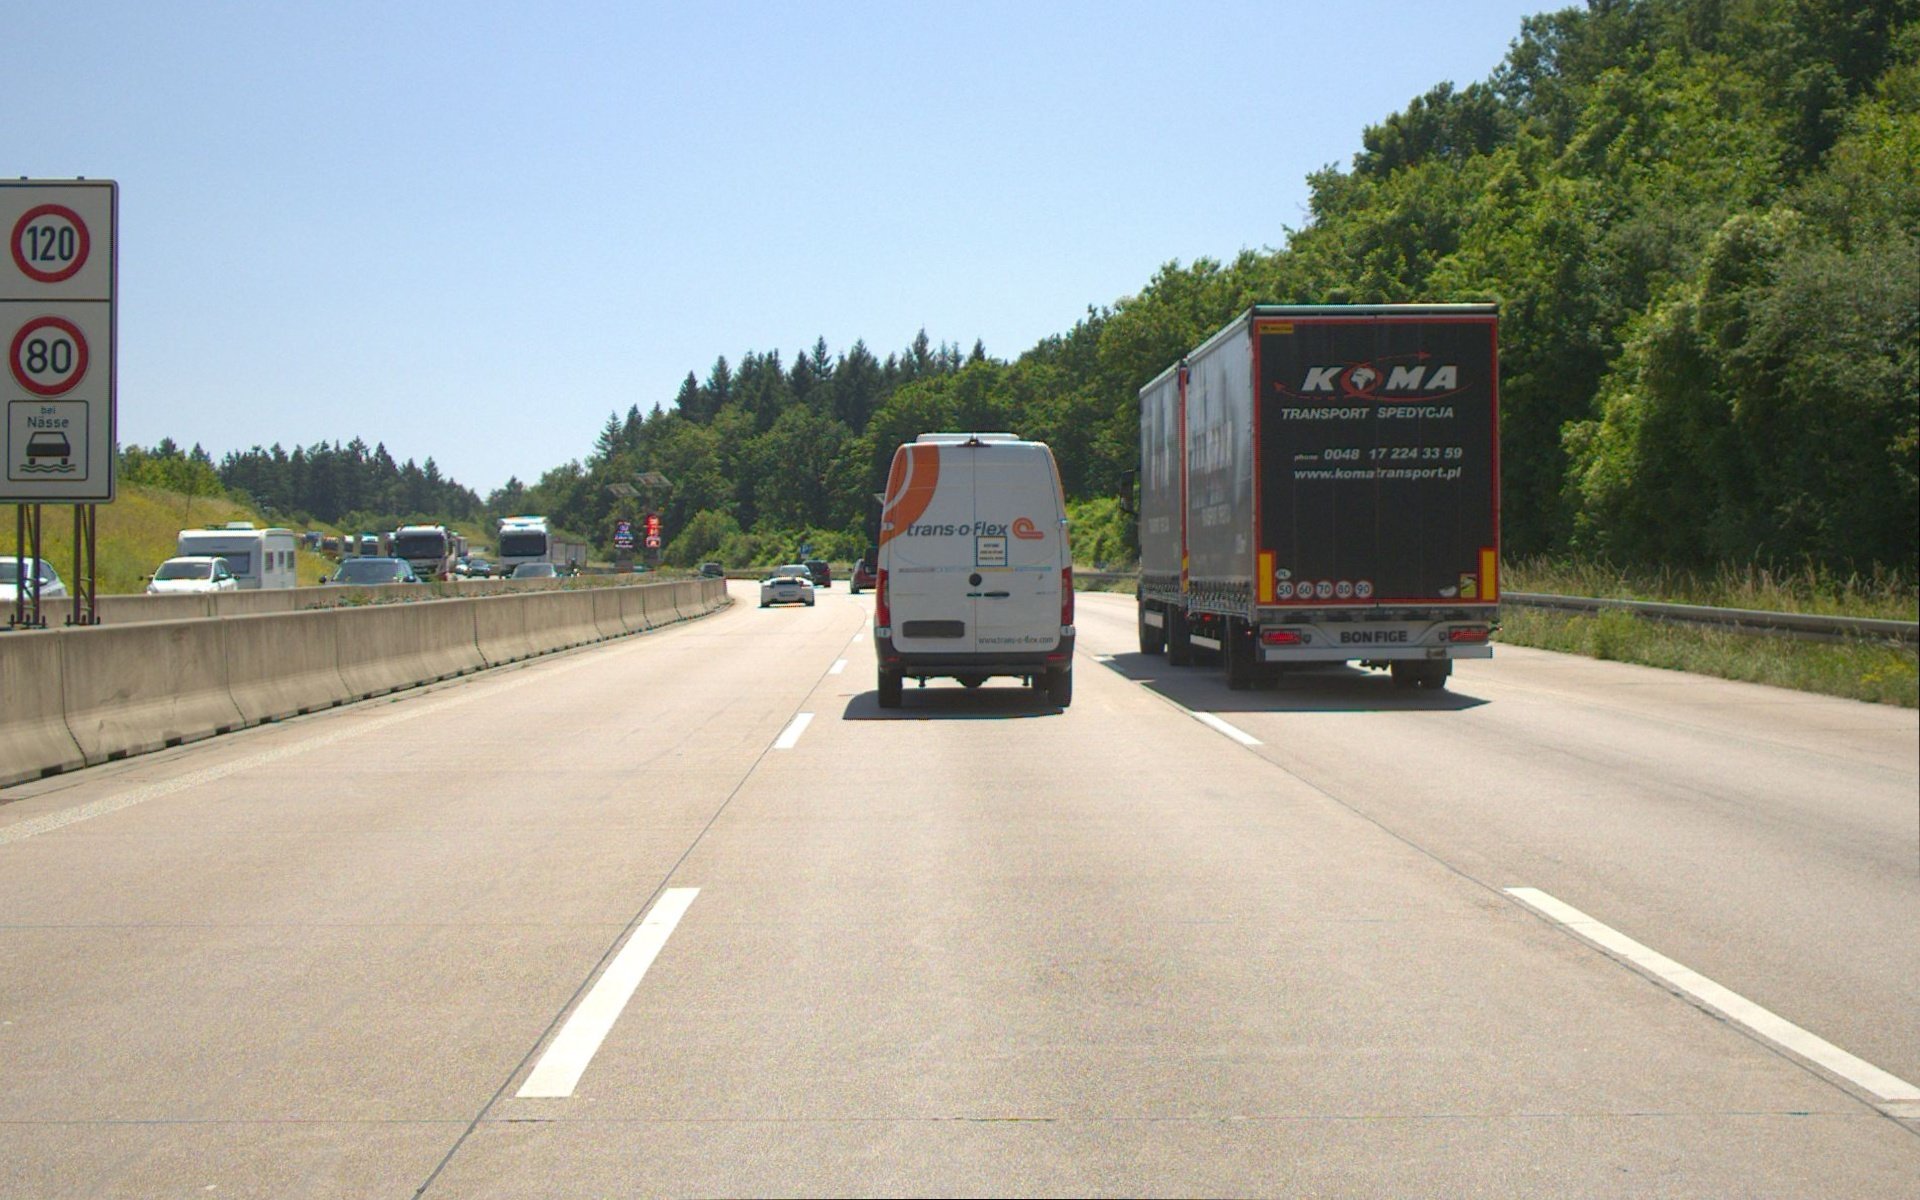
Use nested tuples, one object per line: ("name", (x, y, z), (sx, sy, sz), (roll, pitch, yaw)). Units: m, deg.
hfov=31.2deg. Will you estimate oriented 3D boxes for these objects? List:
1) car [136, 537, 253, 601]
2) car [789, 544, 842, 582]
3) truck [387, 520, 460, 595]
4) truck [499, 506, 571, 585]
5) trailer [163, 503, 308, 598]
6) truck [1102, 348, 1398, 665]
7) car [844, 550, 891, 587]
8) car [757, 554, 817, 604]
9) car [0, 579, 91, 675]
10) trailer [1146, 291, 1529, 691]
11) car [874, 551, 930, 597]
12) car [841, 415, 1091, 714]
("car", (-20.587, -0.851, 92.703), (1.993, 1.654, 5.374), (0, 1, -1))
("car", (-6.689, -1.696, 158.613), (1.993, 1.678, 4.001), (1, 0, -9))
("truck", (-25.100, -1.948, 160.946), (2.725, 3.401, 4.512), (1, 0, -1))
("truck", (-21.782, -2.774, 176.567), (3.160, 3.919, 5.837), (1, 0, -3))
("trailer", (-20.838, -1.418, 99.324), (2.606, 2.622, 7.781), (0, 1, -1))
("truck", (3.918, -1.255, 49.147), (3.159, 4.003, 10.608), (-1, 1, -1))
("car", (-4.359, -1.479, 162.567), (1.993, 1.678, 4.000), (1, 0, 2))
("car", (-5.995, -0.719, 119.504), (1.993, 1.678, 4.000), (1, 0, -2))
("car", (-16.695, 0.438, 59.950), (1.993, 1.553, 4.499), (1, 1, -1))
("trailer", (4.066, -1.153, 39.288), (3.134, 4.003, 9.088), (-1, 1, -1))
("car", (-2.187, -0.979, 130.707), (1.993, 1.678, 4.000), (1, 0, 0))
("car", (-0.037, -0.401, 35.623), (2.226, 2.834, 5.455), (-1, 1, -3))
